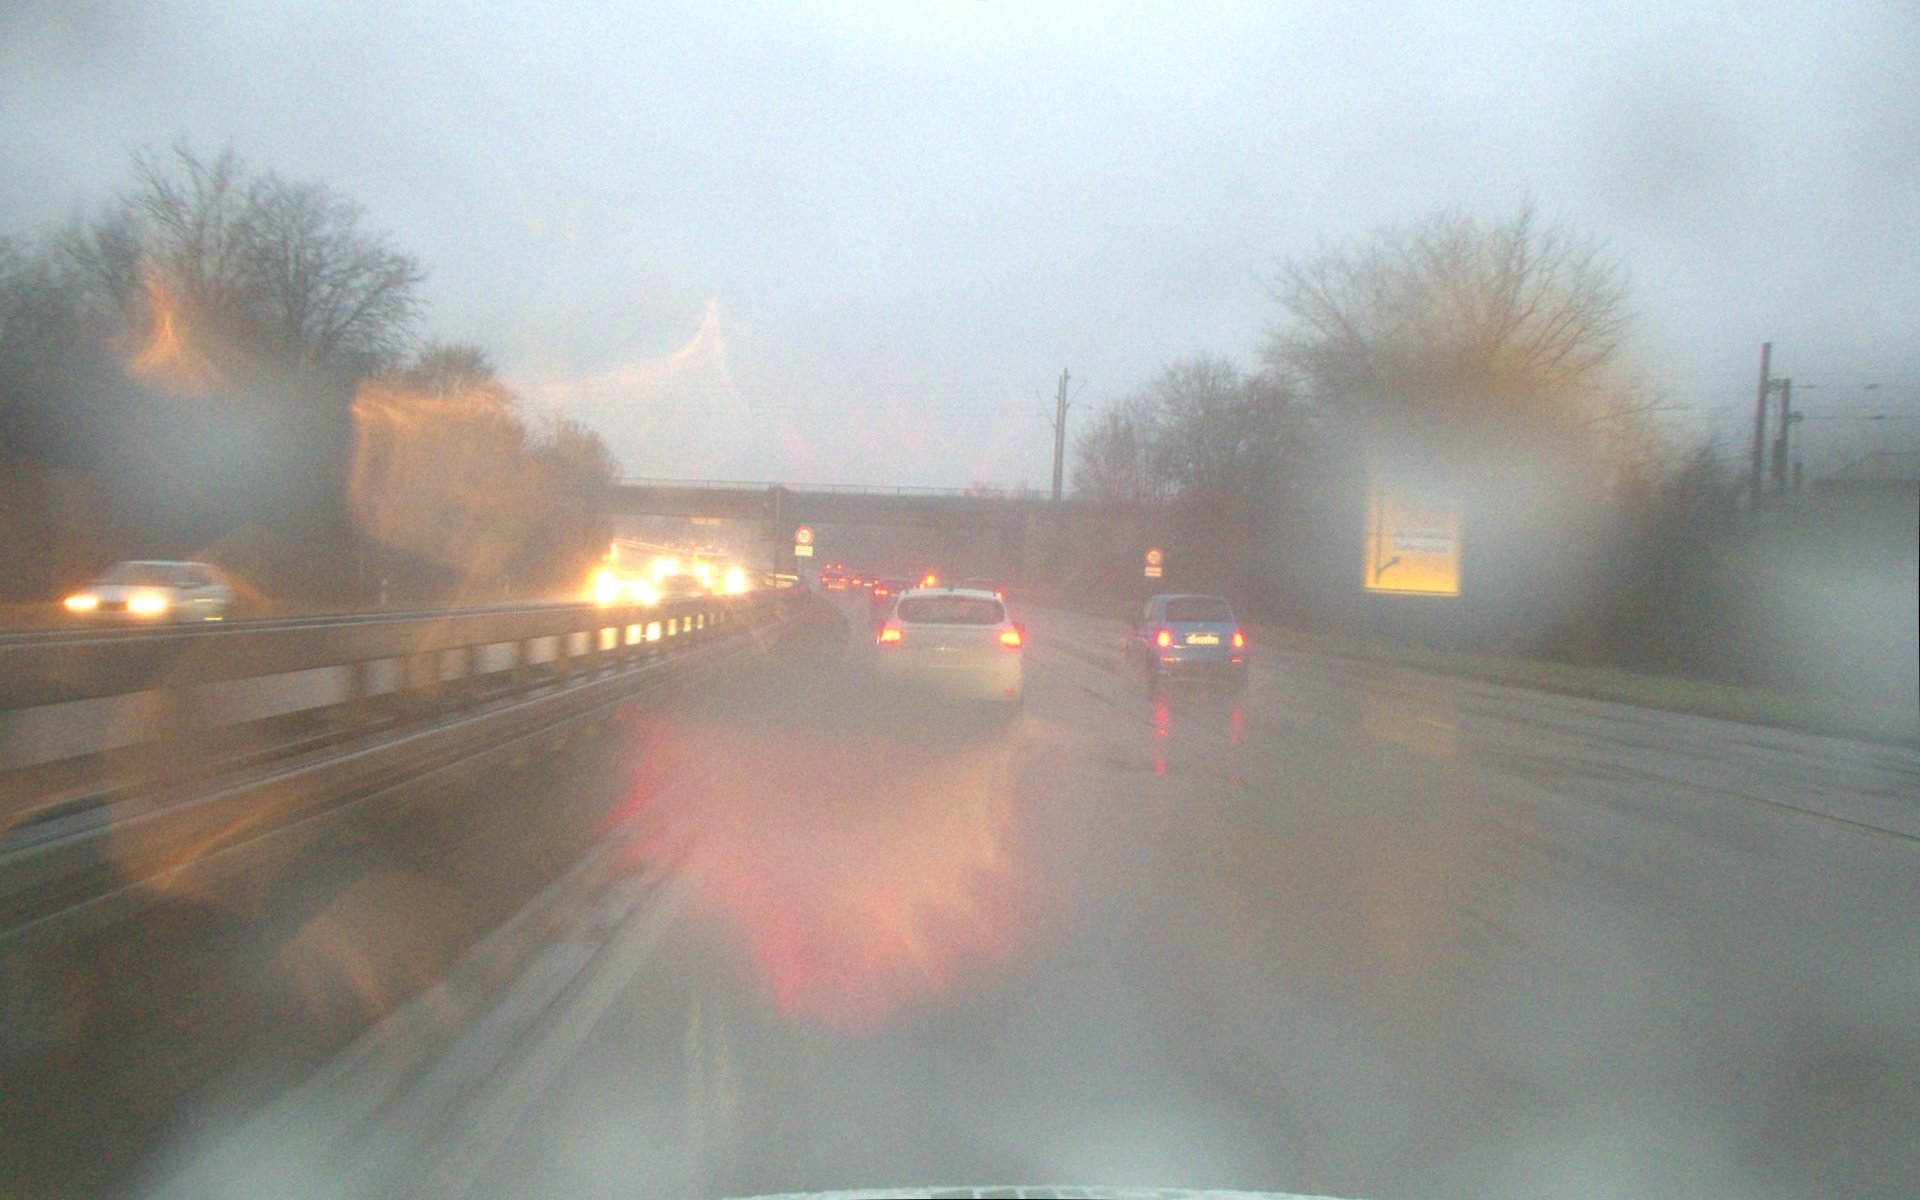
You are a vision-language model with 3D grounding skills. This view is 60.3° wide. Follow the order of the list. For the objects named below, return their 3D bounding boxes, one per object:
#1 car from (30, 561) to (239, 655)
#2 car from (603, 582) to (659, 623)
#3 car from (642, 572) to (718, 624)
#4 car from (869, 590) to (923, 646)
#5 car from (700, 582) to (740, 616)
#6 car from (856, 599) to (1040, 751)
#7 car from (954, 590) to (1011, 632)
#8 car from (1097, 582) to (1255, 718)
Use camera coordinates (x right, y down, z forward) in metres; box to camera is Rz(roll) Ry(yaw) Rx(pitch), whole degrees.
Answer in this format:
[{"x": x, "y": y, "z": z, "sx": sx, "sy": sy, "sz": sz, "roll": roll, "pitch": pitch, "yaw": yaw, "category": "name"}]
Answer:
[{"x": -15.219, "y": 0.146, "z": 30.743, "sx": 1.825, "sy": 1.566, "sz": 4.112, "roll": 2, "pitch": 0, "yaw": -1, "category": "car"}, {"x": -14.474, "y": 0.117, "z": 72.925, "sx": 1.658, "sy": 1.695, "sz": 4.431, "roll": 2, "pitch": 0, "yaw": -2, "category": "car"}, {"x": -8.559, "y": -0.059, "z": 50.821, "sx": 1.719, "sy": 1.466, "sz": 3.999, "roll": 2, "pitch": 0, "yaw": -2, "category": "car"}, {"x": -2.525, "y": 0.696, "z": 64.777, "sx": 1.954, "sy": 2.049, "sz": 3.997, "roll": 2, "pitch": 0, "yaw": -3, "category": "car"}, {"x": -12.964, "y": -0.057, "z": 89.453, "sx": 1.732, "sy": 1.713, "sz": 3.997, "roll": 2, "pitch": 0, "yaw": -4, "category": "car"}, {"x": -0.131, "y": 0.839, "z": 20.373, "sx": 1.983, "sy": 1.602, "sz": 4.000, "roll": 2, "pitch": 0, "yaw": 0, "category": "car"}, {"x": 0.891, "y": 0.474, "z": 68.751, "sx": 1.895, "sy": 1.573, "sz": 3.768, "roll": -4, "pitch": -1, "yaw": -6, "category": "car"}, {"x": 3.536, "y": 0.791, "z": 27.730, "sx": 1.894, "sy": 2.054, "sz": 3.770, "roll": 2, "pitch": 0, "yaw": -4, "category": "car"}]
